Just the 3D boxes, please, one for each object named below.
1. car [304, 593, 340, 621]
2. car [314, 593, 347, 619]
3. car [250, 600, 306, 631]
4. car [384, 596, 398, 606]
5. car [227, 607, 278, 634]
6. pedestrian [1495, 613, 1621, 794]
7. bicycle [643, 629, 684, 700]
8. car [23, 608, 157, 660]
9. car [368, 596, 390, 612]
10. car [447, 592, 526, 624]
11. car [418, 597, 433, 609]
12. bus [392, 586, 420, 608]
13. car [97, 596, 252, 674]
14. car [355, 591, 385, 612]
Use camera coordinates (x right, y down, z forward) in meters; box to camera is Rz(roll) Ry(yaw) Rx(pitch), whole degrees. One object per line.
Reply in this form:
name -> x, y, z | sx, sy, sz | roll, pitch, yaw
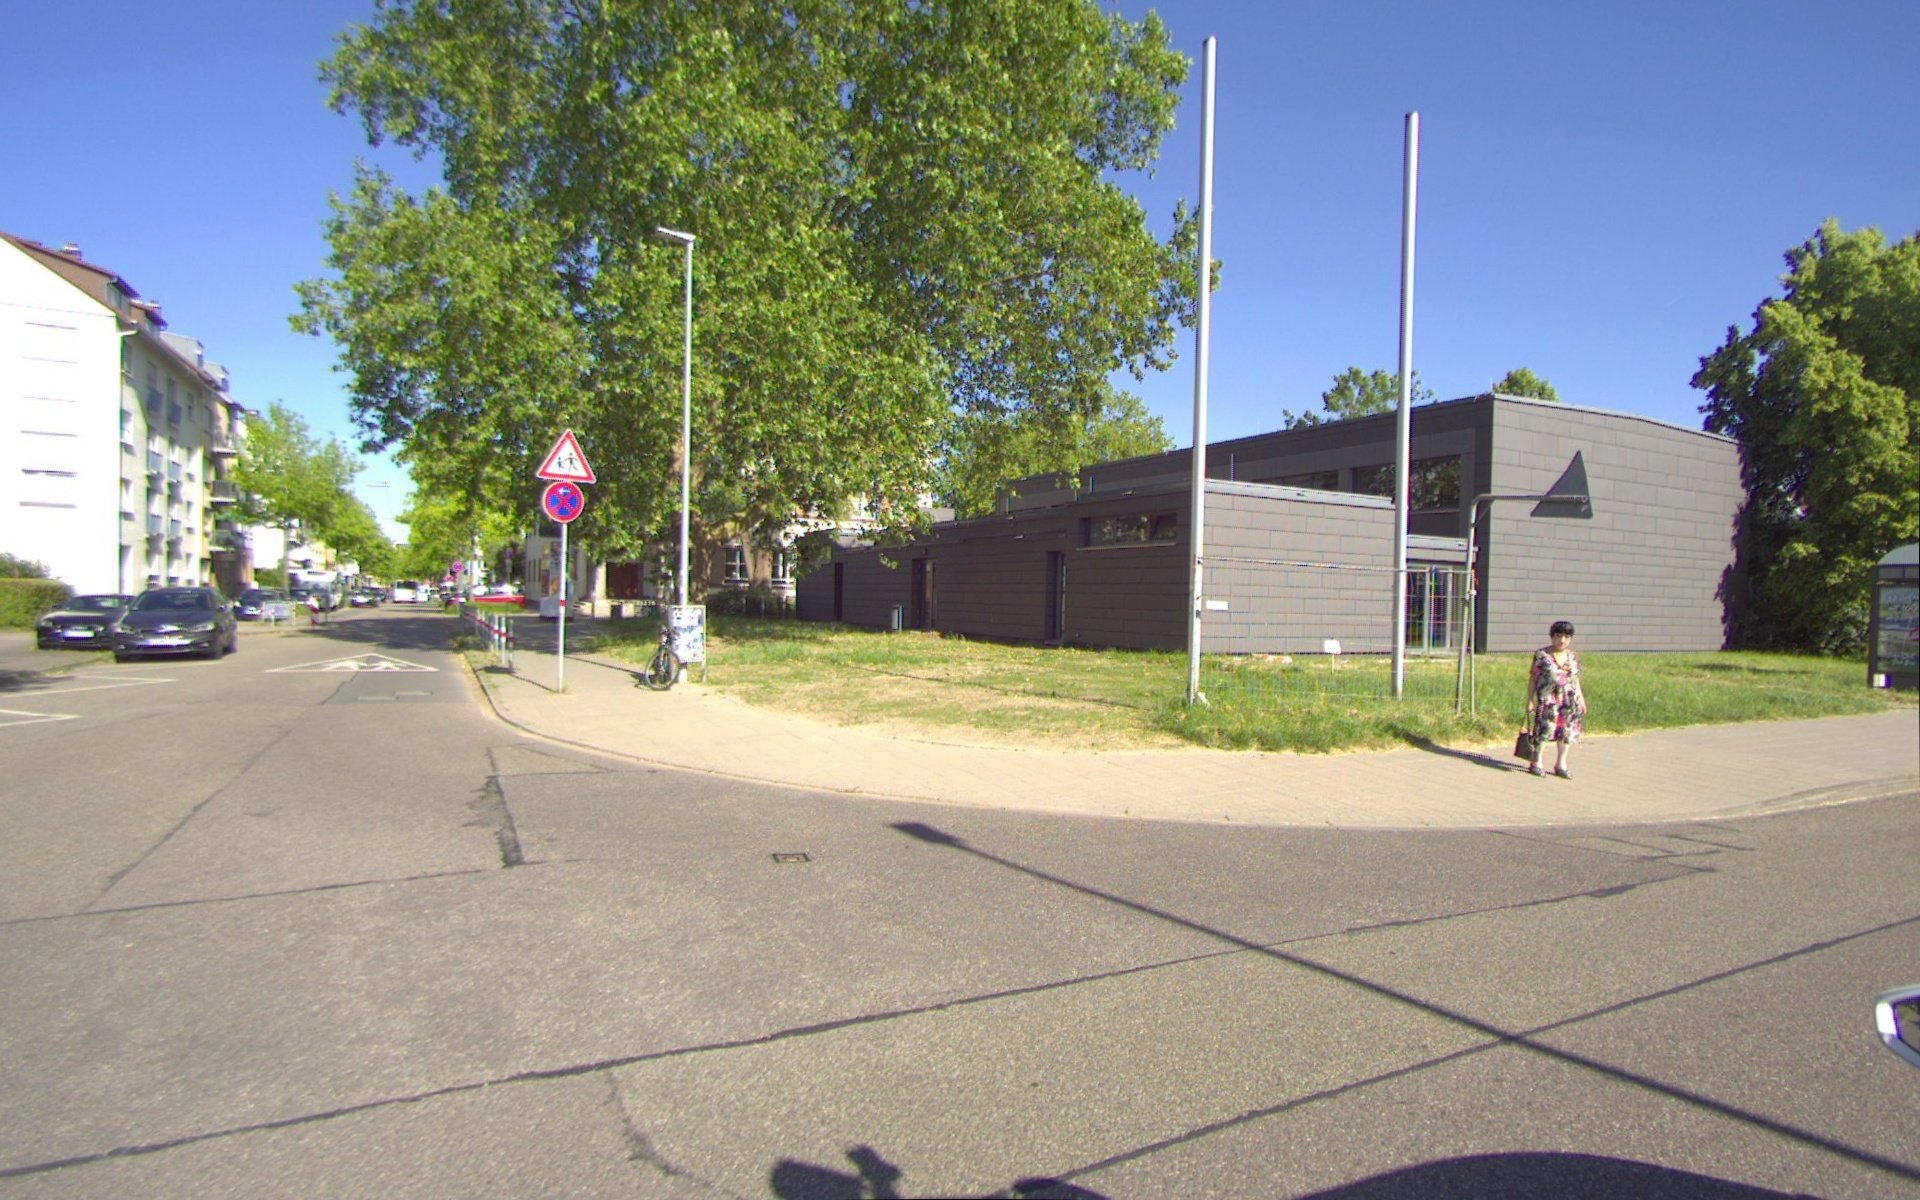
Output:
car -> -47.452, 0.488, 74.730 | 1.976, 2.040, 3.969 | 1, 0, -29
car -> -50.239, 0.472, 80.177 | 1.976, 1.961, 3.969 | 1, 0, -29
car -> -28.162, 0.657, 41.565 | 1.520, 1.209, 3.971 | 1, -1, -29
car -> -101.887, 0.098, 179.866 | 1.979, 1.773, 3.962 | 1, 0, -34
car -> -33.164, 0.969, 47.161 | 1.520, 1.209, 3.971 | 1, -1, -29
pedestrian -> 5.794, 0.974, 9.785 | 0.619, 1.608, 0.836 | 3, 4, 4
bicycle -> -4.701, 0.997, 15.994 | 0.491, 0.998, 1.597 | -1, 1, -12
car -> -20.976, 0.779, 24.394 | 1.610, 1.046, 3.993 | 1, 1, -28
car -> -69.009, 0.478, 119.338 | 1.974, 1.773, 3.973 | 1, 0, -27
car -> -30.999, 0.516, 65.764 | 4.621, 2.040, 1.986 | 1, 0, -28
car -> -81.849, 0.487, 153.797 | 1.974, 1.773, 3.973 | 1, 0, -27
bus -> -67.423, -0.433, 122.338 | 2.764, 2.543, 10.118 | 1, 1, -28
car -> -17.288, 0.696, 22.336 | 2.091, 1.477, 4.076 | -1, 2, -30
car -> -51.000, 0.100, 86.874 | 1.974, 1.773, 3.973 | 1, 0, -27
